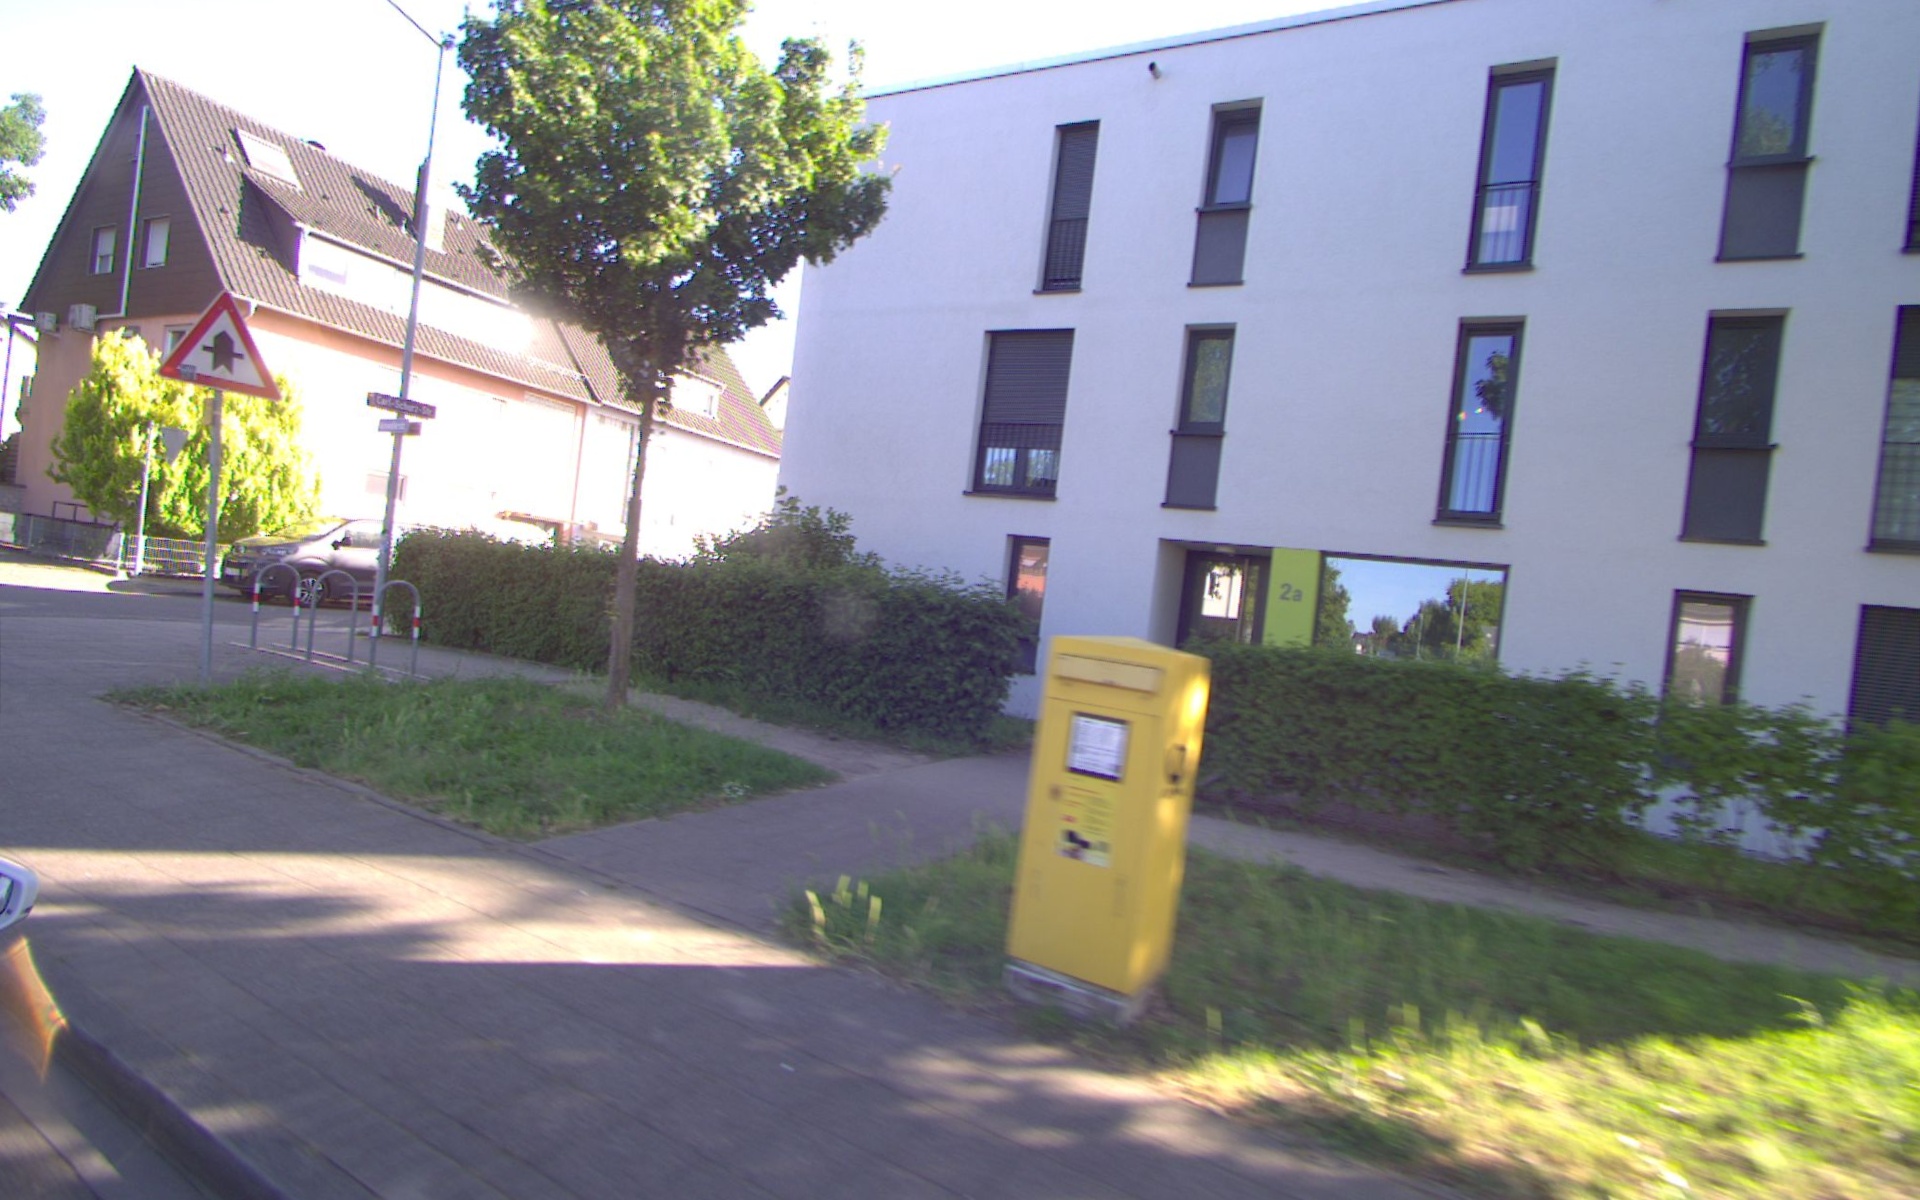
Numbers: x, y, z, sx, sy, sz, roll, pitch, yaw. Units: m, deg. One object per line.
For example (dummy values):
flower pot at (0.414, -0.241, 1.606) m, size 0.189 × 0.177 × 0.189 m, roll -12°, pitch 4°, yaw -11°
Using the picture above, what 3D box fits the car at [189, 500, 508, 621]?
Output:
car at (-12.374, -0.706, 20.835) m, size 2.036 × 1.869 × 5.251 m, roll 5°, pitch -1°, yaw 27°
